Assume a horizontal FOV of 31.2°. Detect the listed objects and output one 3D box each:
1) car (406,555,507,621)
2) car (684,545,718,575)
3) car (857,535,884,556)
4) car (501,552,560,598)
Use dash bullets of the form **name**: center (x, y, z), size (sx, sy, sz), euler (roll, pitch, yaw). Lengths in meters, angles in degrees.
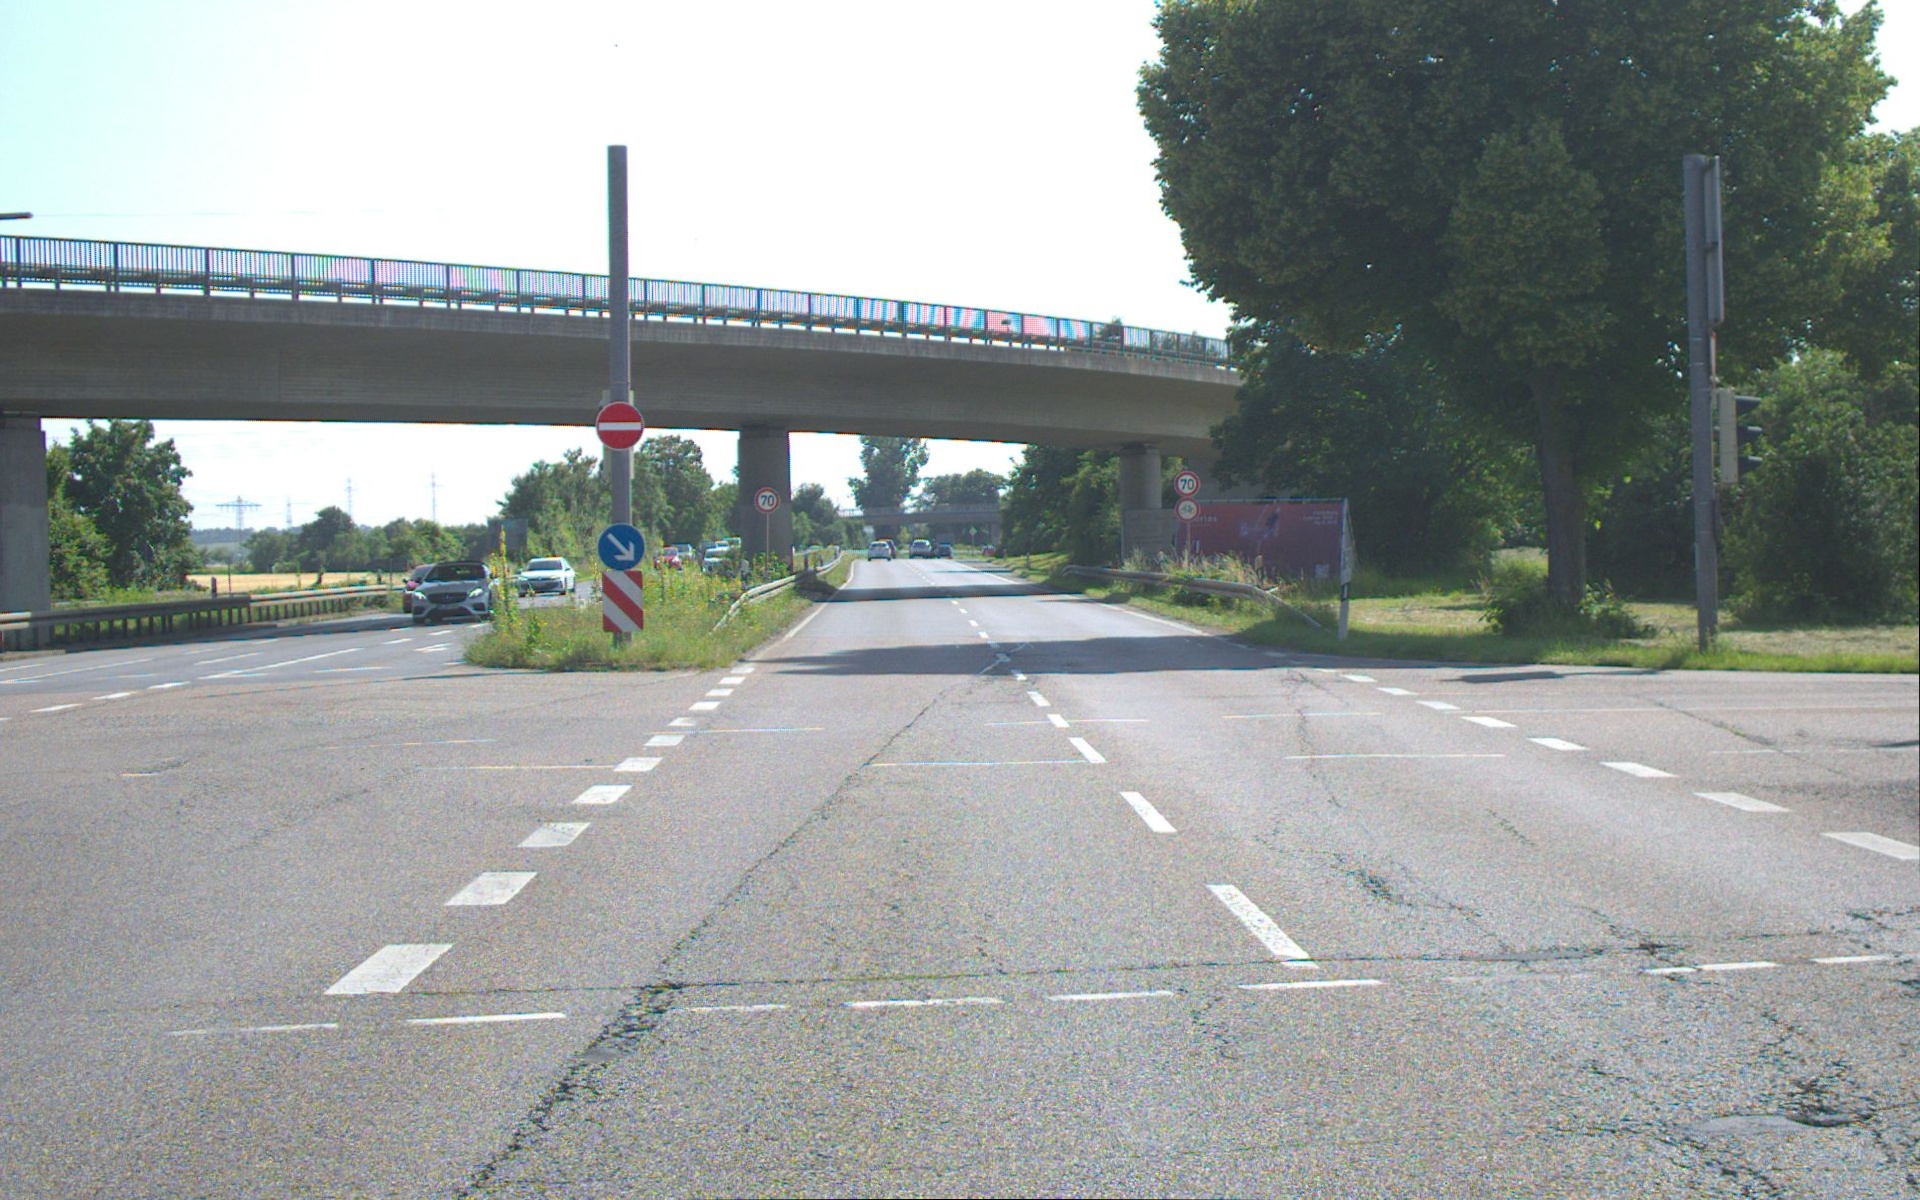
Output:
- **car**: center (-12.223, -0.308, 83.726), size (1.856, 1.443, 4.241), euler (-3, 1, -1)
- **car**: center (-13.833, -2.161, 183.769), size (1.557, 1.535, 4.000), euler (-2, 1, -1)
- **car**: center (-6.786, -4.148, 262.100), size (1.851, 1.456, 4.000), euler (-3, 1, 1)
- **car**: center (-16.082, -0.945, 128.816), size (1.790, 1.622, 4.000), euler (-2, 1, -2)
